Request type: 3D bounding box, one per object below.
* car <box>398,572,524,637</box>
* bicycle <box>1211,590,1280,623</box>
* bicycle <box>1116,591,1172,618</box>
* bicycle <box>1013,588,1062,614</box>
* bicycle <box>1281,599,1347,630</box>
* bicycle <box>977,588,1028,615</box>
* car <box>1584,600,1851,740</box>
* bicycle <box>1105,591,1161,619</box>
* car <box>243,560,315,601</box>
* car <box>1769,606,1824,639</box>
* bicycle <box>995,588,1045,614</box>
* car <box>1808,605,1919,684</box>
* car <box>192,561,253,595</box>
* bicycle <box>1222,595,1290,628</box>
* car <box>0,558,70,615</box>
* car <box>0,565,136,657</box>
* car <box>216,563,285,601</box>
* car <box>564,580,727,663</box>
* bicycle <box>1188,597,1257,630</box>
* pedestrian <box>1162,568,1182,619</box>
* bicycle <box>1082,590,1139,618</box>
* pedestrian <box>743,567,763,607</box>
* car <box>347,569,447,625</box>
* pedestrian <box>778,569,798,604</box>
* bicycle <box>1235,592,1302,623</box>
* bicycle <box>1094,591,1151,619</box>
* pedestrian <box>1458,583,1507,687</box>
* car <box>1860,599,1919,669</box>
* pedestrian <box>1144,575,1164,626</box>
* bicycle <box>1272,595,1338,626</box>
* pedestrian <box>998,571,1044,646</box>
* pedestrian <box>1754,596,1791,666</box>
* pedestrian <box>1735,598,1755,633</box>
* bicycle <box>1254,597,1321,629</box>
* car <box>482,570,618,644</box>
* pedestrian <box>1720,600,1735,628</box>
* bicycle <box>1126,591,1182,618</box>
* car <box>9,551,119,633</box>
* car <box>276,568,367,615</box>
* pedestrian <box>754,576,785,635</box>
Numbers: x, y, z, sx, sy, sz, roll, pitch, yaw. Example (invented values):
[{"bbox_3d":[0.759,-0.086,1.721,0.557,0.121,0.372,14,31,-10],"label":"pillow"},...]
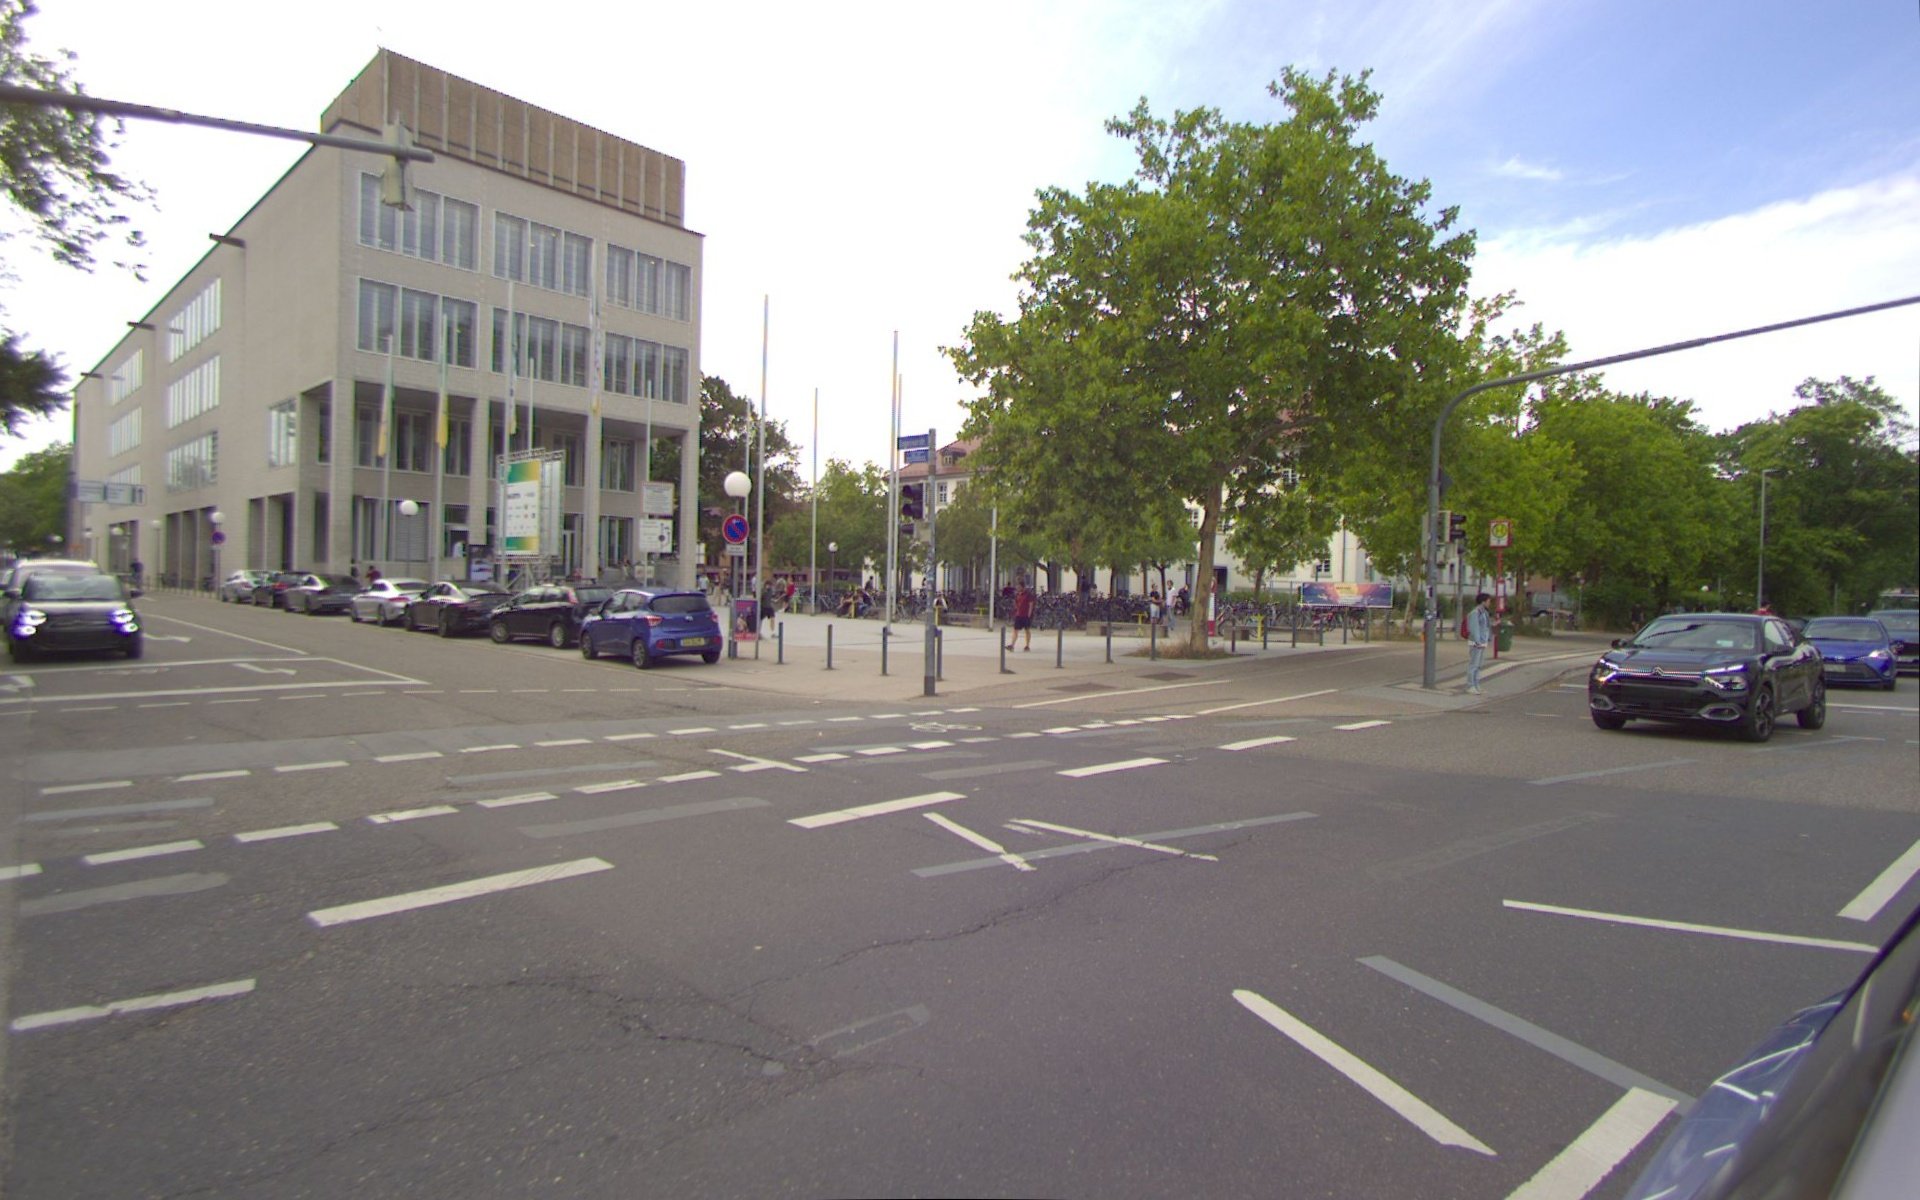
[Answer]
[{"bbox_3d":[-13.337,0.061,26.943,4.439,1.586,1.648,1,2,44],"label":"car"},{"bbox_3d":[10.786,0.236,38.323,0.706,1.157,2.467,1,1,-44],"label":"bicycle"},{"bbox_3d":[8.068,0.189,44.568,0.706,1.157,2.467,1,1,-44],"label":"bicycle"},{"bbox_3d":[3.627,0.036,47.445,0.706,1.157,2.467,1,1,-44],"label":"bicycle"},{"bbox_3d":[14.303,0.579,40.965,0.706,1.157,2.467,1,1,-44],"label":"bicycle"},{"bbox_3d":[1.899,0.048,45.666,0.706,1.157,2.467,1,1,-44],"label":"bicycle"},{"bbox_3d":[10.038,0.799,13.317,4.099,1.576,1.804,1,-1,-38],"label":"car"},{"bbox_3d":[7.496,0.188,43.977,0.706,1.157,2.467,1,1,-44],"label":"bicycle"},{"bbox_3d":[-27.430,-0.790,40.728,3.977,1.586,1.648,1,1,44],"label":"car"},{"bbox_3d":[38.326,0.997,46.318,1.699,1.386,3.772,2,1,43],"label":"car"},{"bbox_3d":[2.724,0.042,46.507,0.706,1.157,2.467,1,1,-44],"label":"bicycle"},{"bbox_3d":[19.606,0.882,21.917,1.699,1.512,3.772,2,1,43],"label":"car"},{"bbox_3d":[-35.000,-1.050,48.012,3.977,1.586,1.725,1,2,44],"label":"car"},{"bbox_3d":[11.352,0.427,38.895,0.706,1.157,2.467,1,1,-44],"label":"bicycle"},{"bbox_3d":[-25.409,-0.379,27.482,1.657,1.460,3.774,-1,2,-45],"label":"car"},{"bbox_3d":[-15.841,0.134,17.887,1.657,1.460,3.573,-1,2,-45],"label":"car"},{"bbox_3d":[-30.697,-0.801,43.742,3.977,1.586,1.725,1,2,44],"label":"car"},{"bbox_3d":[-6.385,0.357,20.389,3.572,1.510,1.648,1,2,44],"label":"car"},{"bbox_3d":[9.723,0.484,37.577,0.706,1.157,2.467,1,1,-44],"label":"bicycle"},{"bbox_3d":[8.222,-0.253,39.256,0.674,1.988,0.601,0,-1,5],"label":"pedestrian"},{"bbox_3d":[6.371,0.158,42.854,0.706,1.157,2.467,1,1,-44],"label":"bicycle"},{"bbox_3d":[-9.842,-0.608,48.011,0.721,1.867,0.596,0,-1,30],"label":"pedestrian"},{"bbox_3d":[-17.190,-0.129,30.832,3.820,1.586,1.648,1,1,44],"label":"car"},{"bbox_3d":[-7.953,-0.617,46.881,0.722,1.617,0.595,0,-1,32],"label":"pedestrian"},{"bbox_3d":[12.049,0.280,39.563,0.706,1.157,2.467,1,1,-44],"label":"bicycle"},{"bbox_3d":[6.947,0.192,43.435,0.706,1.157,2.467,1,1,-44],"label":"bicycle"},{"bbox_3d":[9.498,0.621,18.390,0.670,1.840,0.574,1,0,-43],"label":"pedestrian"},{"bbox_3d":[24.671,0.831,26.120,1.900,1.669,4.569,1,0,45],"label":"car"},{"bbox_3d":[7.526,0.015,39.316,0.674,1.988,0.601,0,-1,5],"label":"pedestrian"},{"bbox_3d":[13.715,0.404,40.298,0.706,1.157,2.467,1,1,-44],"label":"bicycle"},{"bbox_3d":[1.522,0.204,25.353,0.876,1.827,0.768,0,-1,-41],"label":"pedestrian"},{"bbox_3d":[22.191,0.828,27.643,0.725,1.877,1.048,1,0,42],"label":"pedestrian"},{"bbox_3d":[45.182,0.879,58.248,0.796,1.958,0.748,1,0,44],"label":"pedestrian"},{"bbox_3d":[12.873,0.491,39.898,0.706,1.157,2.467,1,1,-44],"label":"bicycle"},{"bbox_3d":[-9.790,0.105,24.062,3.684,1.586,1.648,1,3,44],"label":"car"},{"bbox_3d":[44.684,0.793,58.912,0.644,1.585,0.792,1,0,42],"label":"pedestrian"},{"bbox_3d":[8.629,0.185,45.137,0.706,1.157,2.467,1,1,-44],"label":"bicycle"},{"bbox_3d":[-20.603,-0.219,23.219,1.657,1.713,4.283,-1,1,-45],"label":"car"},{"bbox_3d":[-22.888,-0.312,36.206,4.215,1.587,1.786,1,0,44],"label":"car"},{"bbox_3d":[-5.728,0.166,30.428,0.687,1.730,0.956,0,-1,-27],"label":"pedestrian"}]
